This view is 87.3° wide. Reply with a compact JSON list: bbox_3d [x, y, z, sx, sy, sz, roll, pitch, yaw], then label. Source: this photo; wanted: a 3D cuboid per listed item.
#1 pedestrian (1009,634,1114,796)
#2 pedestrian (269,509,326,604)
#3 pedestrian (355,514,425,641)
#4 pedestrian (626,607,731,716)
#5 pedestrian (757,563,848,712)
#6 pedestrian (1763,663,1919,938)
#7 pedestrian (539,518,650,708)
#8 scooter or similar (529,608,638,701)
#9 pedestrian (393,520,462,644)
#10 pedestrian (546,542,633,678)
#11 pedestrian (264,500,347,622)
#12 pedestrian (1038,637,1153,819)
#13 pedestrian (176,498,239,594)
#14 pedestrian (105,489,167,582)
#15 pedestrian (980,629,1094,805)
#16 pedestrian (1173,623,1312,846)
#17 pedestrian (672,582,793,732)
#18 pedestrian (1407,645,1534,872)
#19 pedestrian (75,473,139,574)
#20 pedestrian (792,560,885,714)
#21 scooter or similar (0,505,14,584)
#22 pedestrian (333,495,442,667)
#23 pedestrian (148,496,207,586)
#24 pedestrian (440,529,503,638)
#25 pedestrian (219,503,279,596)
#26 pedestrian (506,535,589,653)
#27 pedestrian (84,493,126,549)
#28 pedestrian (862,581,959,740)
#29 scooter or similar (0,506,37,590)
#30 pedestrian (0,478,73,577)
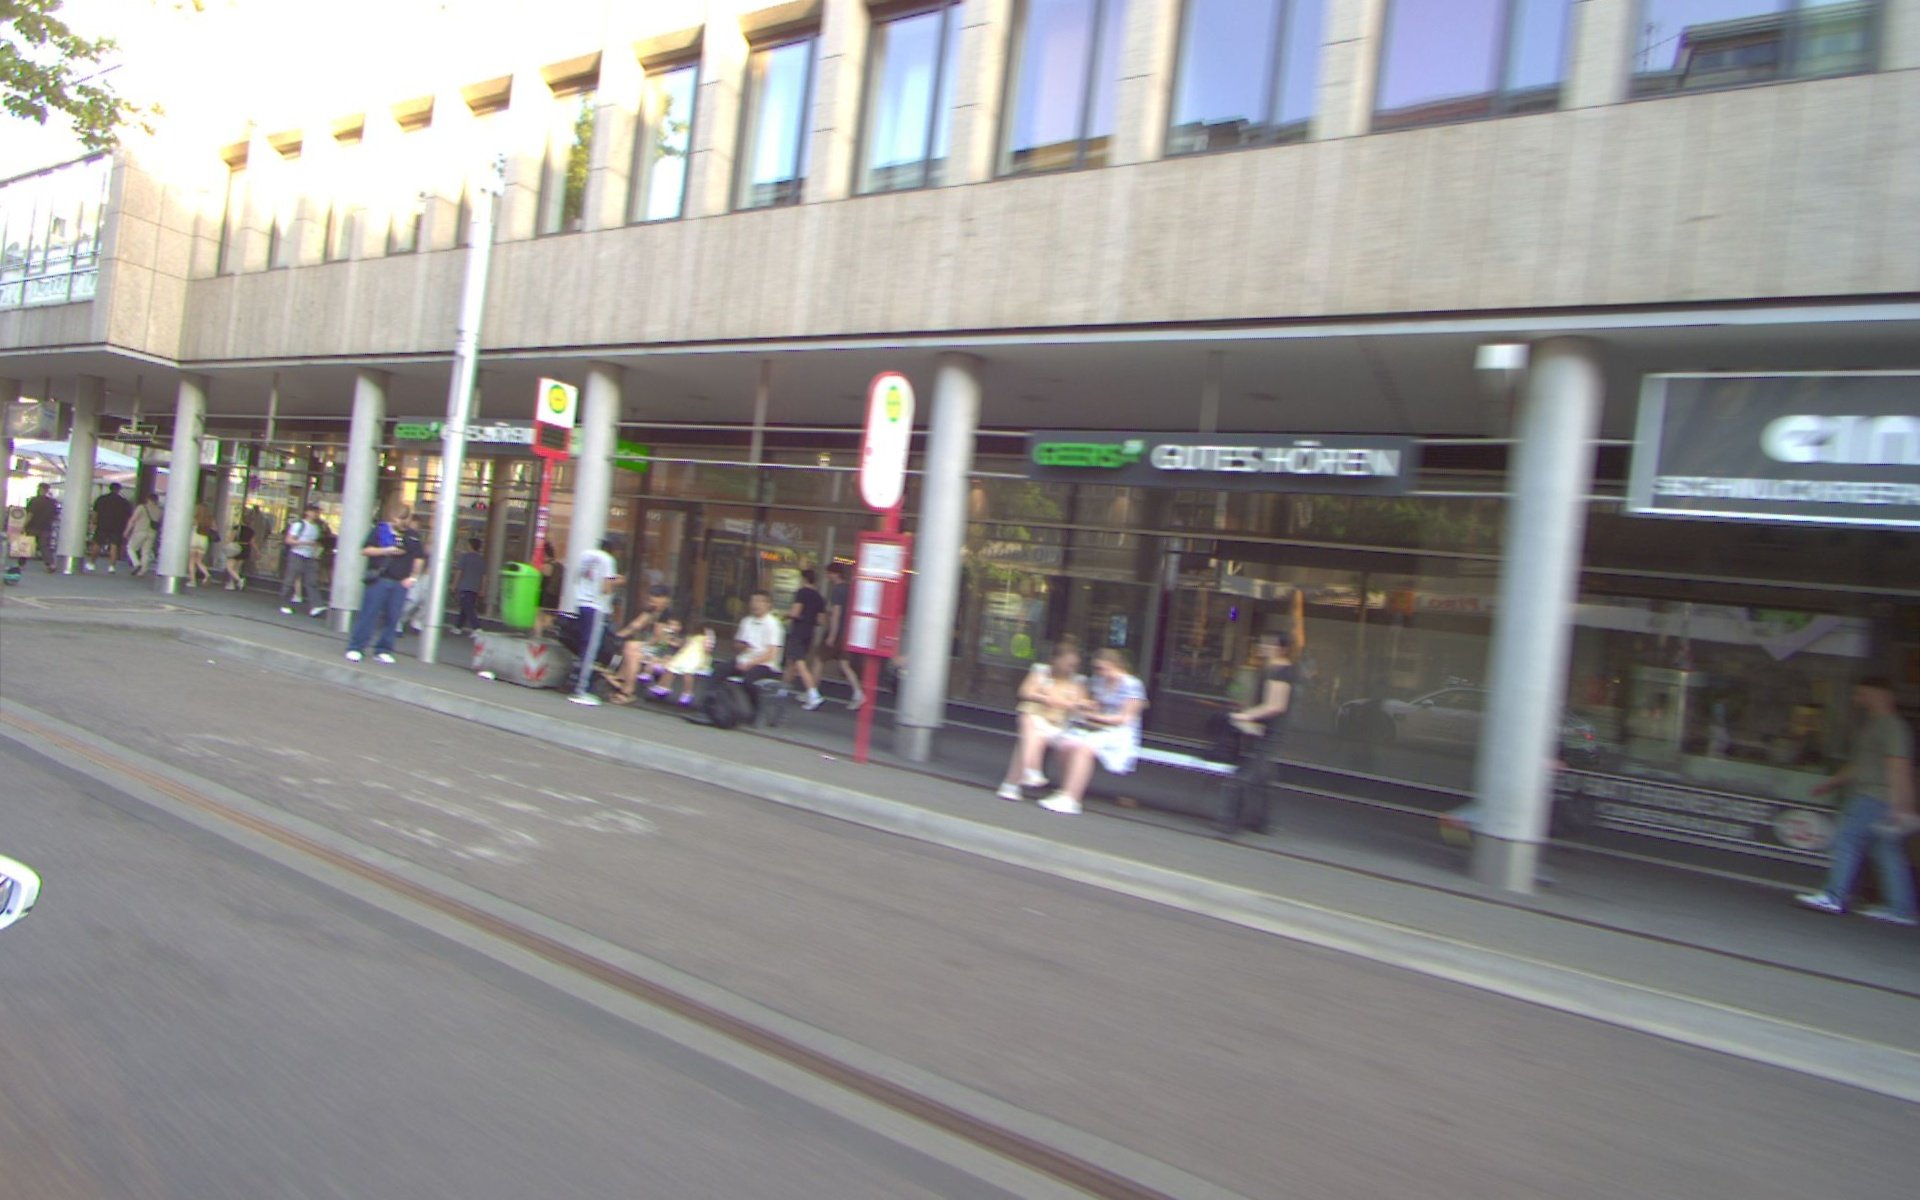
[{"bbox_3d":[0.918,1.020,9.015,0.523,1.330,0.719,7,-1,32],"label":"pedestrian"},{"bbox_3d":[-12.870,-0.836,19.554,0.607,1.753,0.571,7,1,29],"label":"pedestrian"},{"bbox_3d":[-8.576,-0.334,15.138,0.594,1.829,0.540,7,1,29],"label":"pedestrian"},{"bbox_3d":[-2.970,0.664,10.657,0.535,1.054,0.814,7,-1,32],"label":"pedestrian"},{"bbox_3d":[-1.988,0.470,12.709,0.760,1.775,0.583,7,1,29],"label":"pedestrian"},{"bbox_3d":[7.005,1.505,7.834,0.884,1.913,0.845,7,1,31],"label":"pedestrian"},{"bbox_3d":[-3.774,0.138,10.395,0.656,1.862,0.640,7,1,31],"label":"pedestrian"},{"bbox_3d":[-4.193,0.604,11.204,0.678,0.894,0.832,6,-3,44],"label":"scooter or similar"},{"bbox_3d":[-8.230,-0.271,15.553,0.594,1.829,0.540,7,1,29],"label":"pedestrian"},{"bbox_3d":[-4.836,0.140,13.130,0.639,1.682,0.649,7,1,31],"label":"pedestrian"},{"bbox_3d":[-10.674,-0.632,16.409,0.865,1.862,0.669,7,1,30],"label":"pedestrian"},{"bbox_3d":[1.091,1.007,8.045,0.516,1.330,0.719,7,-1,32],"label":"pedestrian"},{"bbox_3d":[-15.102,-1.087,20.194,0.707,1.809,0.663,7,1,31],"label":"pedestrian"},{"bbox_3d":[-17.100,-1.329,20.886,0.707,1.809,0.663,7,1,31],"label":"pedestrian"},{"bbox_3d":[0.645,0.957,8.318,0.523,1.330,0.719,7,-1,32],"label":"pedestrian"},{"bbox_3d":[2.233,1.025,7.936,0.724,1.589,0.725,7,1,32],"label":"pedestrian"},{"bbox_3d":[-2.287,0.584,10.159,0.651,1.397,0.814,7,-1,32],"label":"pedestrian"},{"bbox_3d":[4.204,1.262,8.266,0.710,1.682,0.688,7,1,32],"label":"pedestrian"},{"bbox_3d":[-18.219,-1.631,21.484,0.769,2.039,0.687,7,1,31],"label":"pedestrian"},{"bbox_3d":[-1.596,0.481,13.250,0.760,1.906,0.688,7,1,29],"label":"pedestrian"},{"bbox_3d":[-15.751,-0.920,15.867,0.386,1.267,1.191,7,1,1],"label":"scooter or similar"},{"bbox_3d":[-6.565,-0.205,11.549,0.696,1.862,0.669,7,1,30],"label":"pedestrian"},{"bbox_3d":[-16.739,-1.256,21.521,0.707,1.809,0.663,7,1,31],"label":"pedestrian"},{"bbox_3d":[-8.253,-0.271,17.002,0.607,1.753,0.571,7,1,29],"label":"pedestrian"},{"bbox_3d":[-14.711,-1.041,20.818,0.707,1.809,0.663,7,1,31],"label":"pedestrian"},{"bbox_3d":[-6.658,-0.087,16.250,0.761,1.794,0.774,7,1,29],"label":"pedestrian"},{"bbox_3d":[-30.405,-2.797,35.759,0.793,1.845,0.809,8,1,35],"label":"pedestrian"},{"bbox_3d":[-0.556,0.679,11.433,0.669,1.682,0.649,7,1,32],"label":"pedestrian"},{"bbox_3d":[-15.027,-0.820,15.480,0.487,1.267,1.115,7,1,0],"label":"scooter or similar"},{"bbox_3d":[-17.501,-1.363,18.999,0.908,1.740,0.764,6,0,32],"label":"pedestrian"}]
